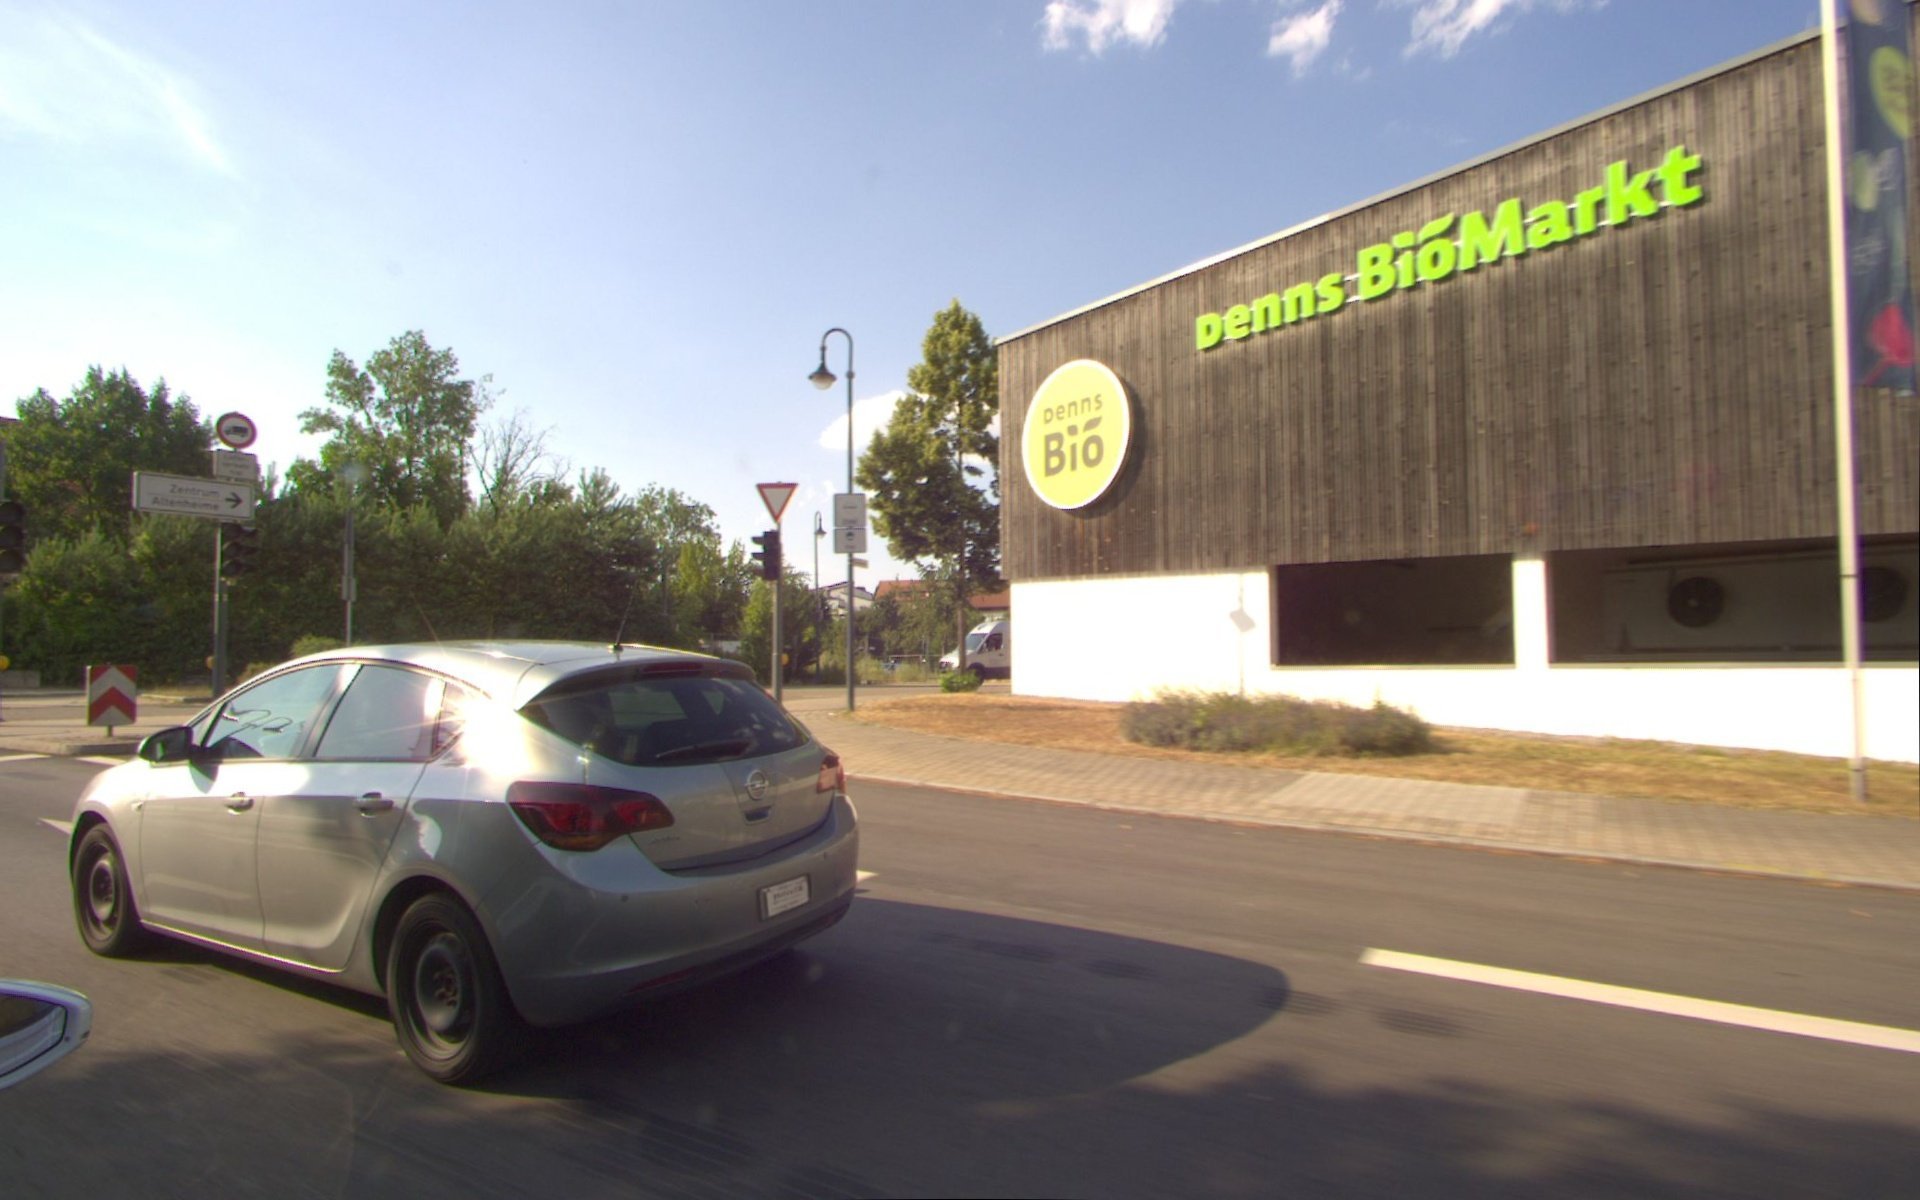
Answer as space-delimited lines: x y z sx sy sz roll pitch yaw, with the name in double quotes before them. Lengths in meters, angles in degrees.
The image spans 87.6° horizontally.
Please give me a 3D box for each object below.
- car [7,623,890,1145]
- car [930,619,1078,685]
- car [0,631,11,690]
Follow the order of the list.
"car" -2.566 0.879 4.750 4.242 1.509 1.719 -1 -2 30
"car" 1.829 2.090 40.729 5.776 2.553 2.184 1 -2 -30
"car" -27.746 1.588 25.937 4.203 1.587 1.787 1 -2 -24
